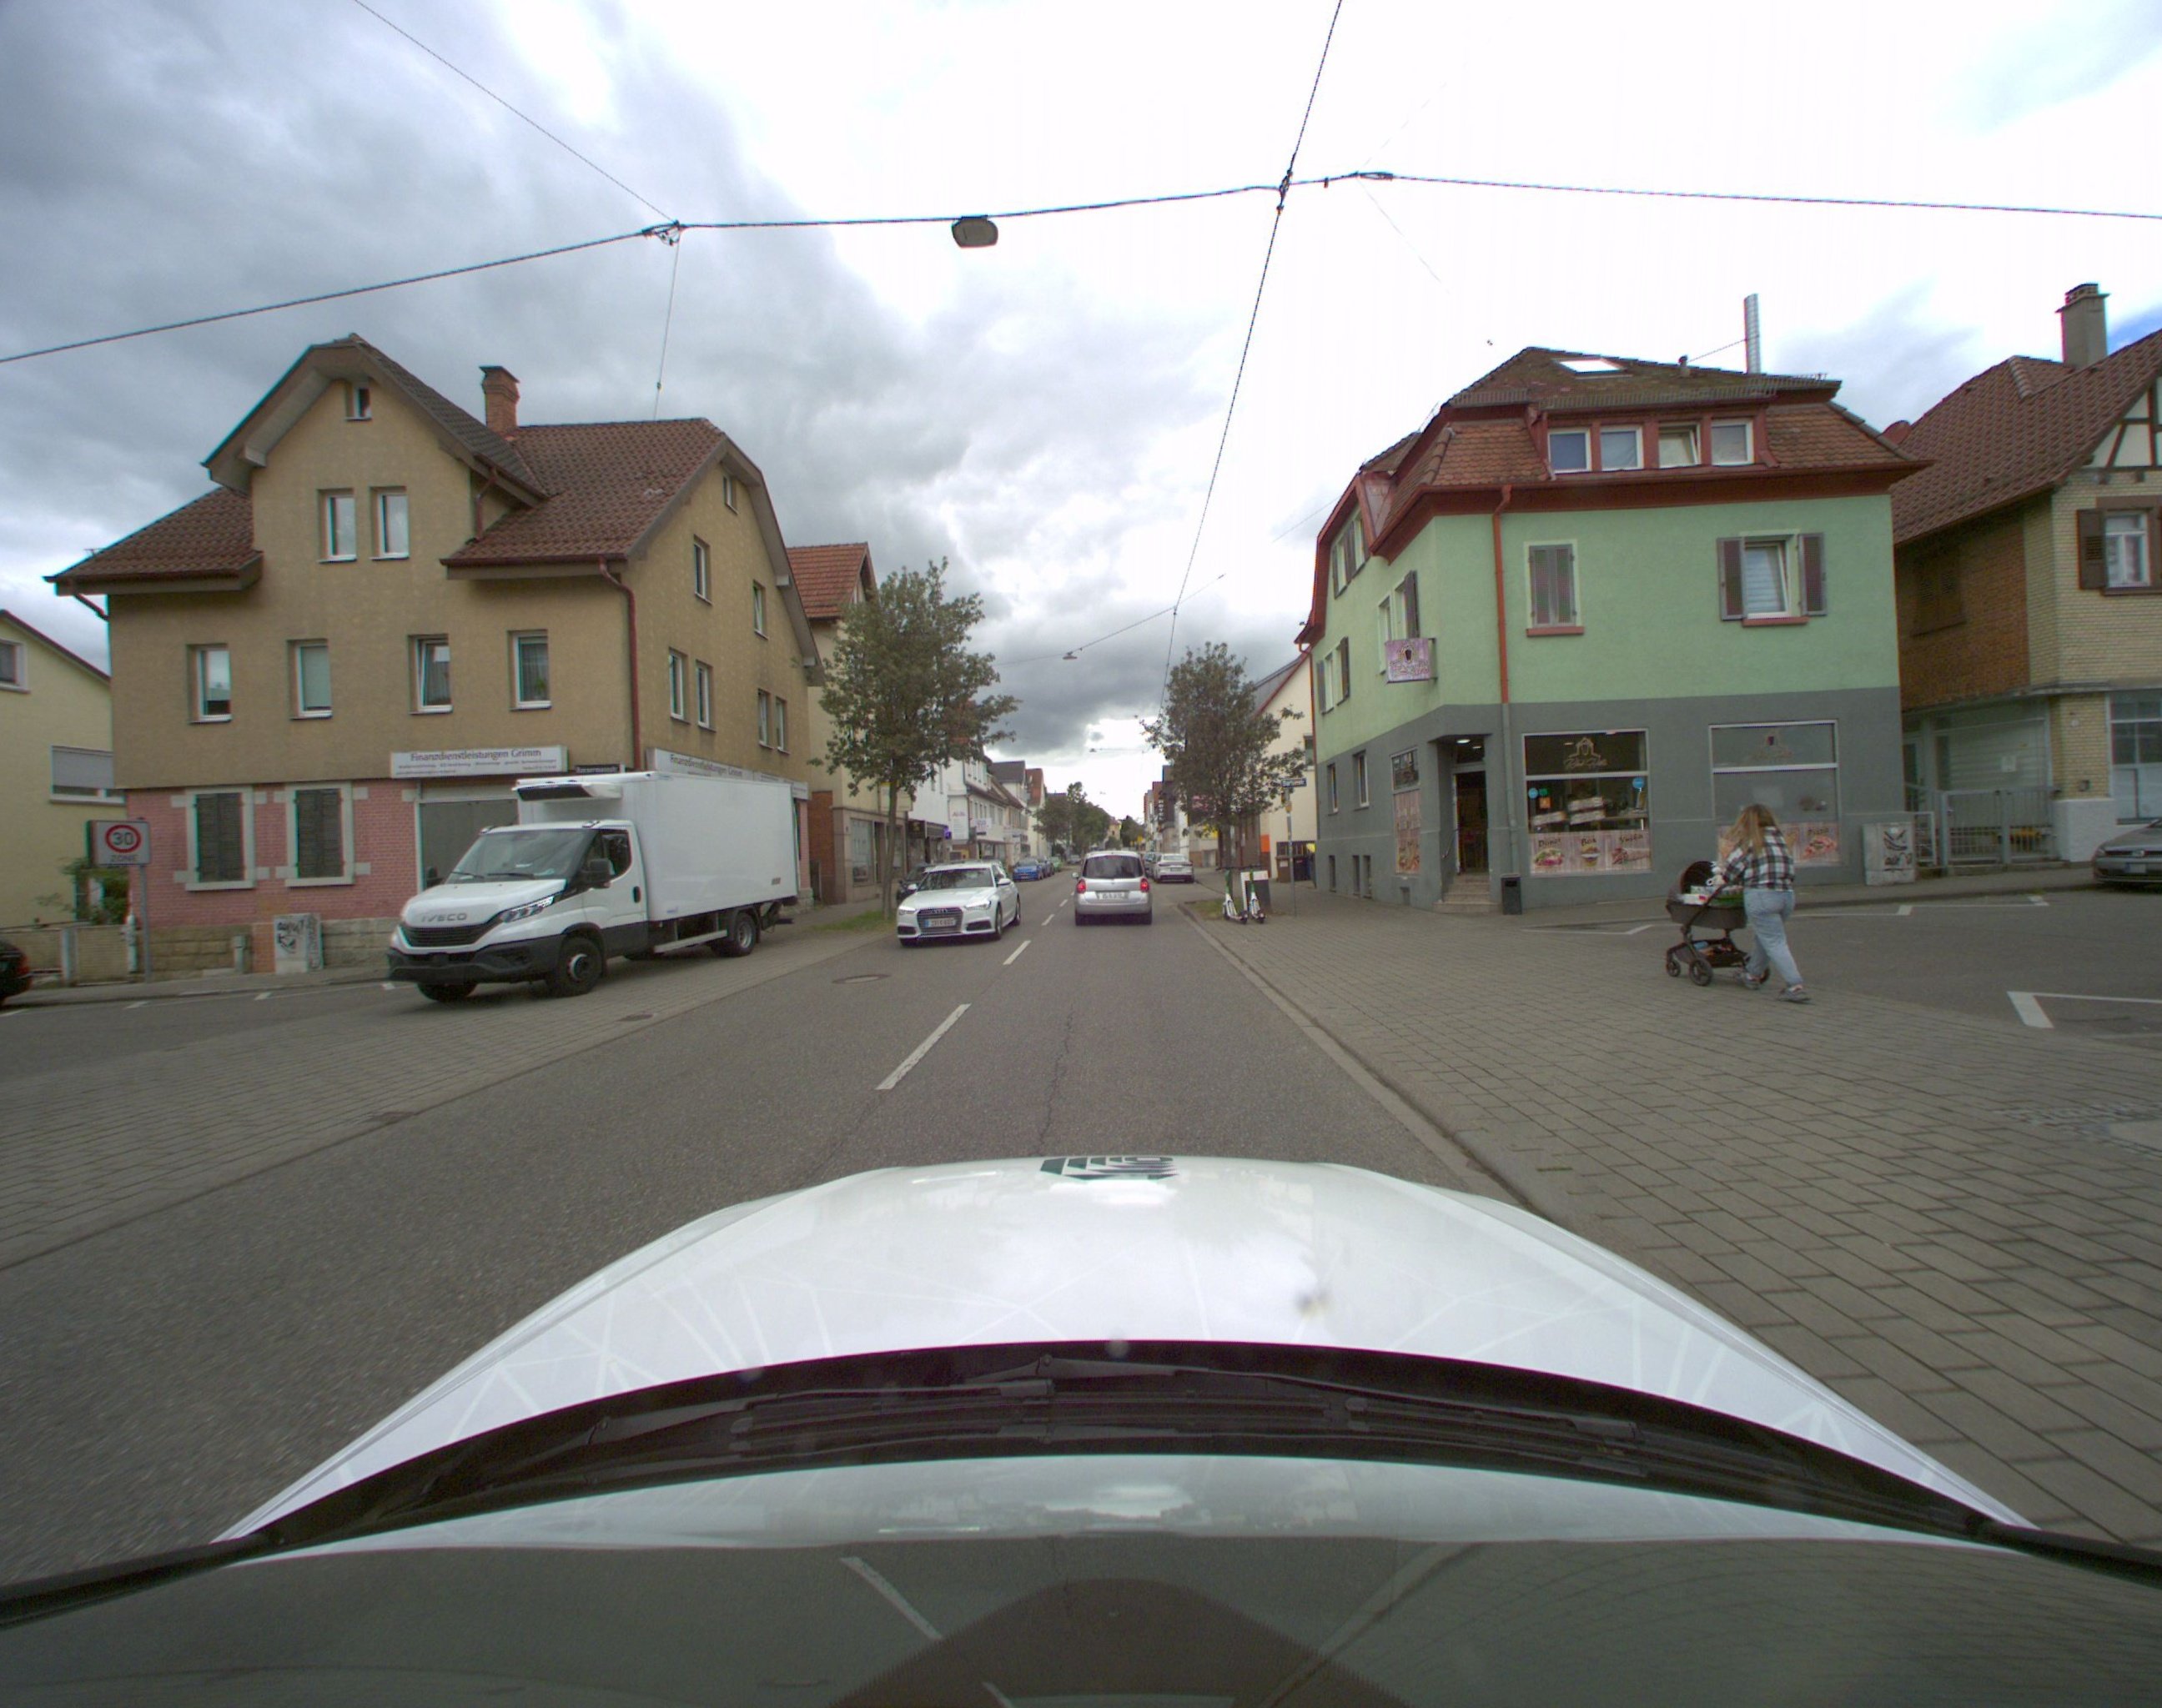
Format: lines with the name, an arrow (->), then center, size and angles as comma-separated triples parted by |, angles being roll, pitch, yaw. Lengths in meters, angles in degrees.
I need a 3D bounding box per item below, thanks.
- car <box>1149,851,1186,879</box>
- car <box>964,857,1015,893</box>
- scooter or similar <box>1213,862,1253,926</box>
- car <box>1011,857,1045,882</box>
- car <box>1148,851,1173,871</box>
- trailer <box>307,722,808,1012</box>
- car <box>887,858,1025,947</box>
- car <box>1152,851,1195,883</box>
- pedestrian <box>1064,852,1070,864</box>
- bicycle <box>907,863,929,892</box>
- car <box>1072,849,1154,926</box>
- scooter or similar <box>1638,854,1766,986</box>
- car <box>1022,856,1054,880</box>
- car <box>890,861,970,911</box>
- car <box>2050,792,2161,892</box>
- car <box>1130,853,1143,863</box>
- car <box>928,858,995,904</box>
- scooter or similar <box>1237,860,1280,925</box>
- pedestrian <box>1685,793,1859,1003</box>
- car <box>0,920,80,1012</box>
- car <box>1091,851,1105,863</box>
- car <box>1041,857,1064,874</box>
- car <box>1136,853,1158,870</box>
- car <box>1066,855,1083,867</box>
car -> 4.782, 0.587, 45.586 | 1.823, 1.445, 4.113 | -1, 0, 3
car -> -4.214, 0.945, 37.896 | 1.675, 1.493, 3.594 | -4, 0, 3
scooter or similar -> 3.120, 0.788, 16.860 | 0.500, 1.235, 1.943 | -1, 0, 2
car -> -3.425, 0.997, 53.505 | 1.675, 1.499, 3.778 | -4, 0, 3
car -> 6.320, 0.519, 64.840 | 1.823, 1.497, 3.997 | -1, 0, 3
trailer -> -7.131, 0.169, 12.715 | 2.489, 3.219, 7.150 | -1, 0, 7
car -> -2.332, 0.865, 16.463 | 1.835, 1.433, 4.546 | -3, 0, 2
car -> 4.481, 0.617, 39.823 | 1.823, 1.445, 4.335 | -1, 0, 3
pedestrian -> -2.040, 0.614, 120.840 | 0.759, 1.791, 0.890 | -1, 0, 2
bicycle -> -7.202, 1.025, 36.004 | 0.500, 1.235, 1.943 | -1, 0, 2
car -> 0.773, 0.696, 18.775 | 1.675, 1.566, 3.997 | -1, 0, 3
scooter or similar -> 6.158, 0.622, 8.124 | 0.587, 1.233, 0.892 | -1, 0, 2
car -> -3.095, 1.017, 59.529 | 1.795, 1.599, 4.308 | -4, 0, 3
car -> -4.890, 0.997, 26.868 | 1.676, 1.424, 3.933 | -4, 0, 2
car -> 17.911, -0.315, 12.397 | 4.033, 1.464, 1.804 | -4, -1, 1
car -> 8.057, 0.576, 117.694 | 1.694, 1.467, 4.241 | -1, 0, 2
car -> -4.617, 0.992, 31.914 | 1.703, 1.566, 4.117 | -4, 0, 3
scooter or similar -> 3.652, 0.761, 16.852 | 0.500, 1.235, 1.943 | -1, 0, 2
pedestrian -> 6.038, 0.368, 7.172 | 0.747, 1.720, 0.900 | -1, 0, 2
car -> -19.464, 1.952, 13.120 | 4.184, 1.449, 1.979 | -4, -4, 0
car -> 2.604, 0.420, 126.604 | 1.893, 1.737, 4.369 | -4, 0, 3
car -> -2.652, 1.070, 75.453 | 1.675, 1.447, 4.024 | -4, 0, 3
car -> 5.594, 0.619, 69.581 | 1.747, 1.445, 4.458 | -1, 0, 3
car -> -0.868, 0.947, 110.227 | 1.940, 1.467, 4.519 | -4, 0, 3
